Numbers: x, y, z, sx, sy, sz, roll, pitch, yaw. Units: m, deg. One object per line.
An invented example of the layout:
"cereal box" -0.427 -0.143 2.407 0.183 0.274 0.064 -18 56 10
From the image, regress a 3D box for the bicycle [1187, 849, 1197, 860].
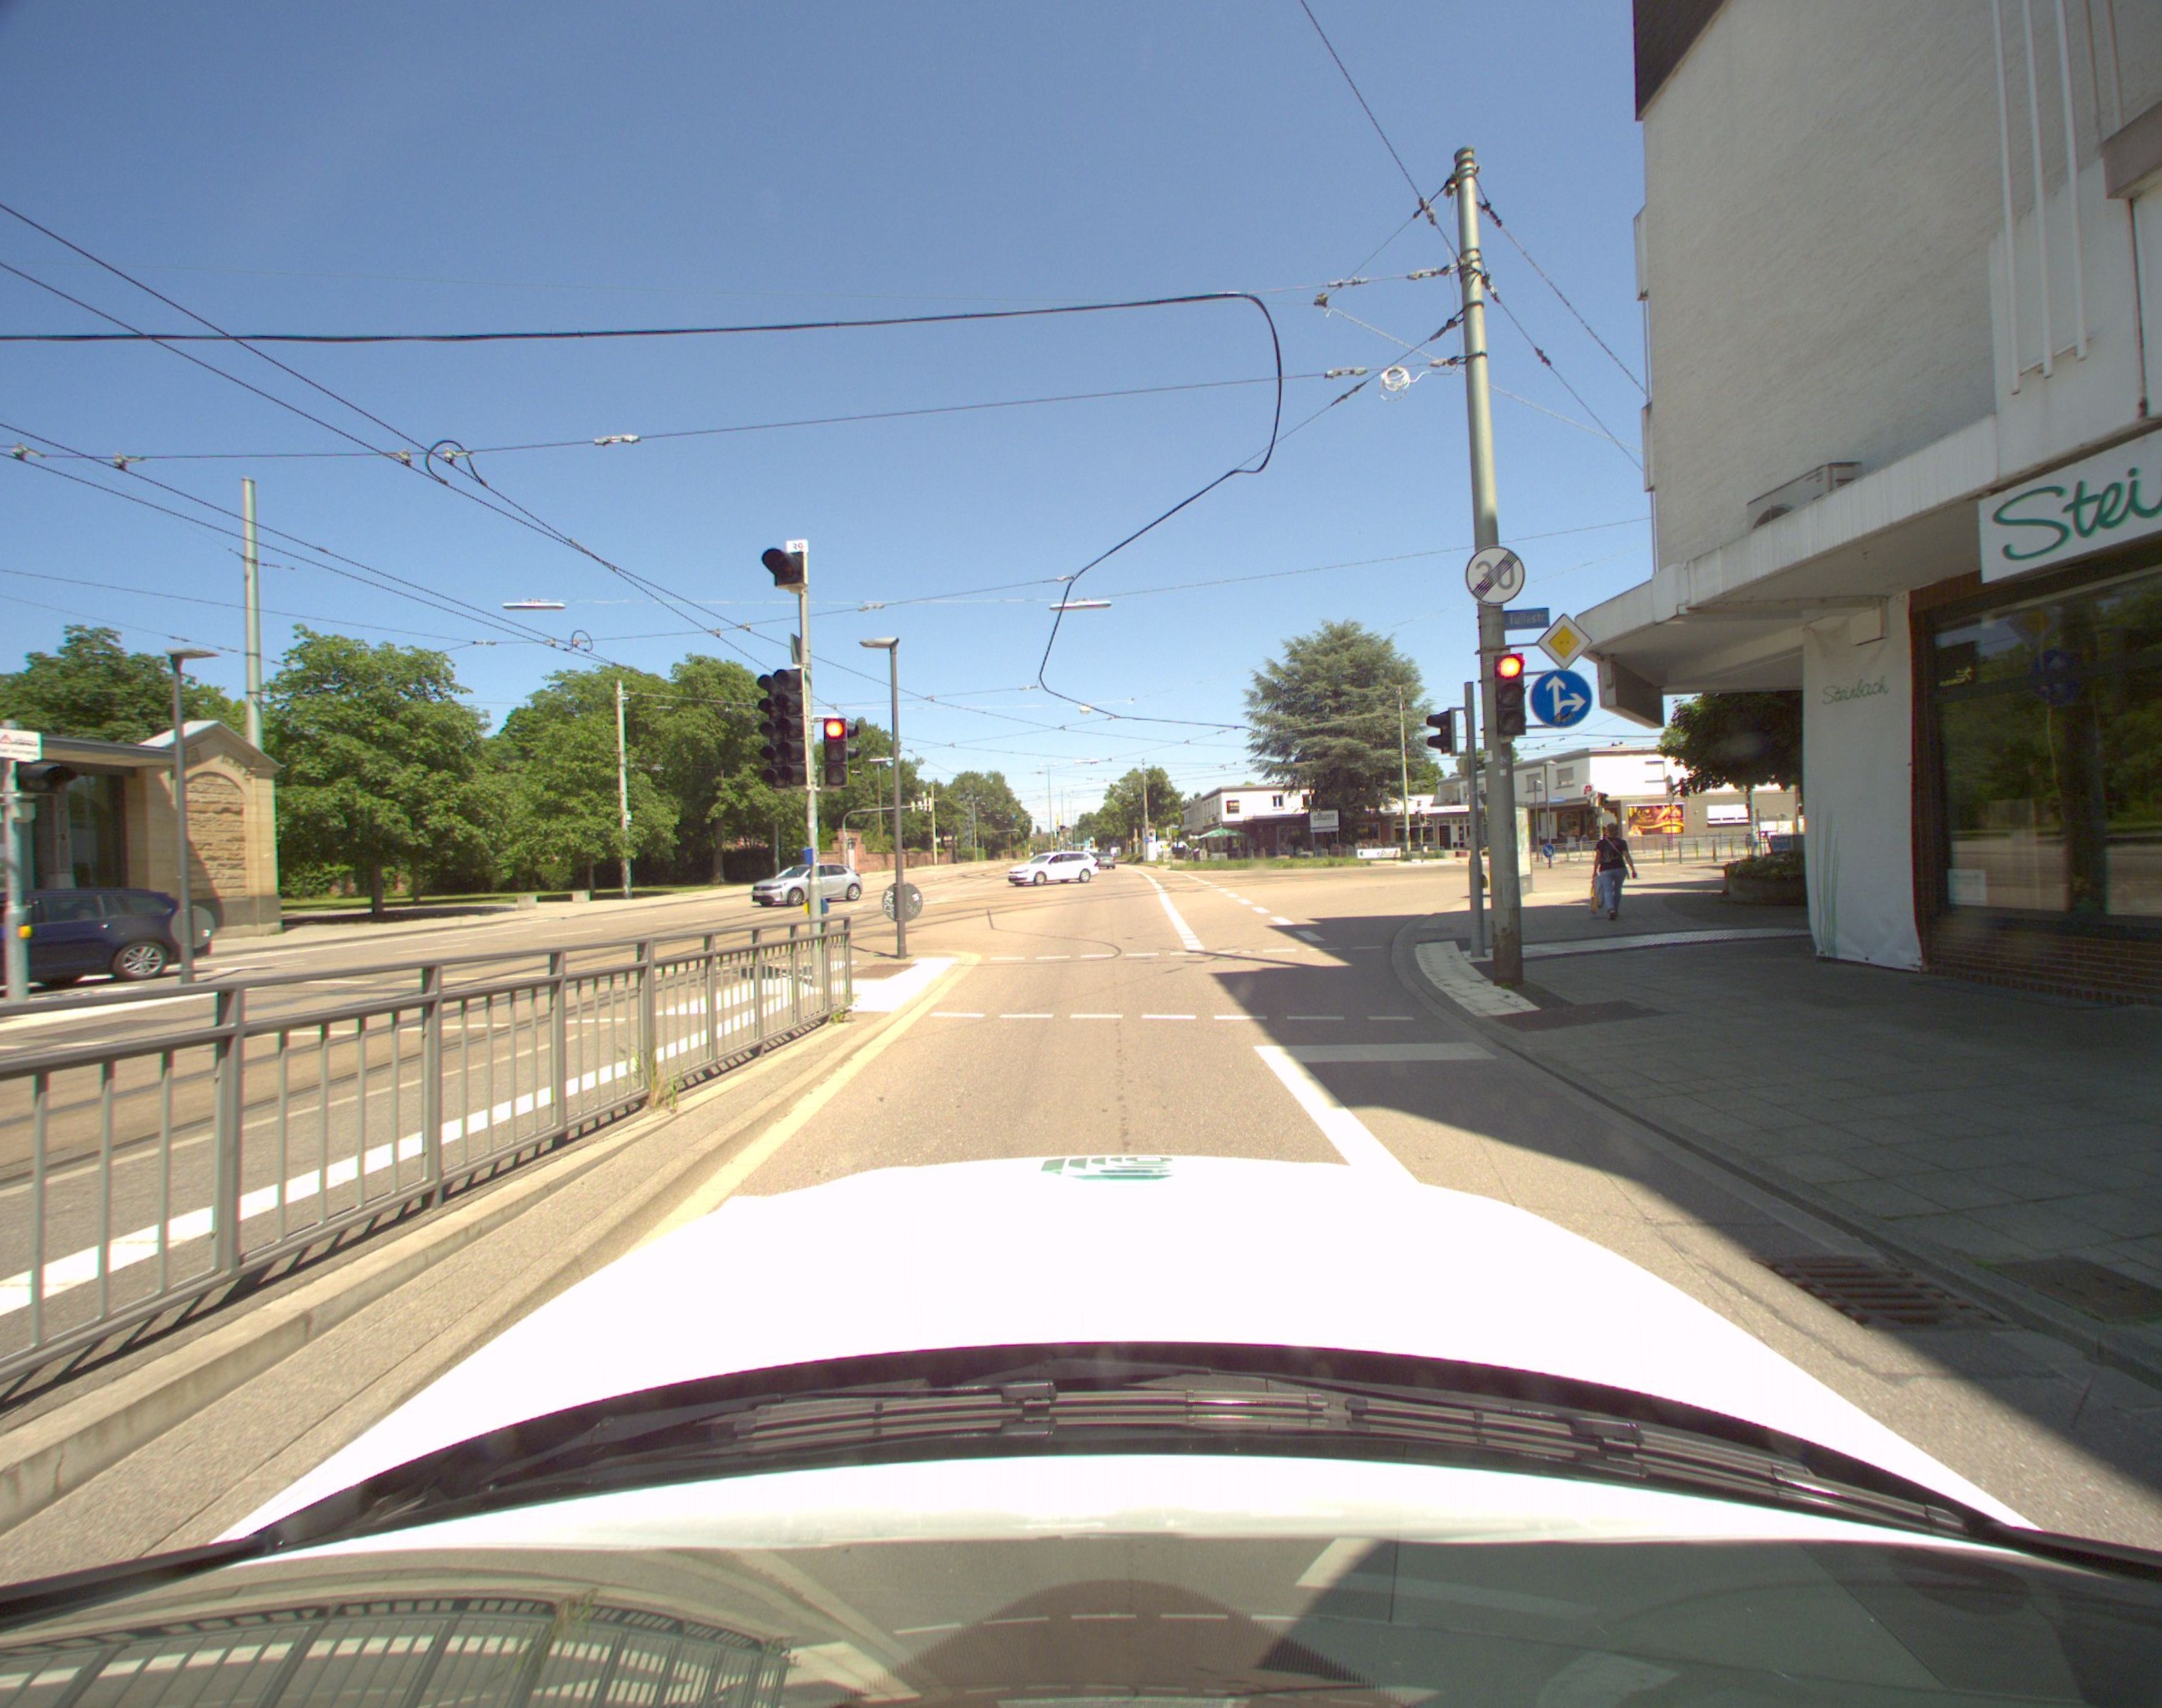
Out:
"bicycle" 11.493 0.052 84.382 1.028 1.014 2.643 -2 0 8

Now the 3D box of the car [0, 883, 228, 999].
"car" -15.389 1.258 11.359 1.845 1.442 4.491 -2 0 10

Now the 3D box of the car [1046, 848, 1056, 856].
"car" -6.933 -0.418 187.792 1.813 1.603 4.523 -2 1 2

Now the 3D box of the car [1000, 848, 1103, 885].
"car" -1.310 0.540 37.354 4.523 1.489 1.802 -2 0 -40

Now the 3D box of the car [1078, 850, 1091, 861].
"car" 0.613 0.243 138.117 1.988 1.860 3.998 -2 0 -1

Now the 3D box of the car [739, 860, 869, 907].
"car" -9.748 1.022 28.975 1.800 1.362 4.078 -3 0 33

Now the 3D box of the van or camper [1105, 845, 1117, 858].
"van or camper" 5.594 -0.467 152.944 1.988 2.464 3.998 -2 0 -2

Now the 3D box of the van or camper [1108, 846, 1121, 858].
"van or camper" 5.369 -0.334 130.463 1.915 1.772 4.001 -2 0 2

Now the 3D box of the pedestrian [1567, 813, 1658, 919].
"pedestrian" 8.541 0.194 13.134 0.822 1.583 0.828 -6 -1 7

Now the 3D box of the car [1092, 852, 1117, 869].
"car" 1.999 0.504 69.522 1.634 1.351 3.835 -2 0 -5

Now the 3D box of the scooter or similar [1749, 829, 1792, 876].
"scooter or similar" 18.682 -0.050 22.059 1.258 1.212 0.391 -2 0 -26

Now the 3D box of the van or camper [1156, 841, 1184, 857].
"van or camper" 15.638 -0.907 143.255 4.742 2.671 2.135 -2 0 -1
